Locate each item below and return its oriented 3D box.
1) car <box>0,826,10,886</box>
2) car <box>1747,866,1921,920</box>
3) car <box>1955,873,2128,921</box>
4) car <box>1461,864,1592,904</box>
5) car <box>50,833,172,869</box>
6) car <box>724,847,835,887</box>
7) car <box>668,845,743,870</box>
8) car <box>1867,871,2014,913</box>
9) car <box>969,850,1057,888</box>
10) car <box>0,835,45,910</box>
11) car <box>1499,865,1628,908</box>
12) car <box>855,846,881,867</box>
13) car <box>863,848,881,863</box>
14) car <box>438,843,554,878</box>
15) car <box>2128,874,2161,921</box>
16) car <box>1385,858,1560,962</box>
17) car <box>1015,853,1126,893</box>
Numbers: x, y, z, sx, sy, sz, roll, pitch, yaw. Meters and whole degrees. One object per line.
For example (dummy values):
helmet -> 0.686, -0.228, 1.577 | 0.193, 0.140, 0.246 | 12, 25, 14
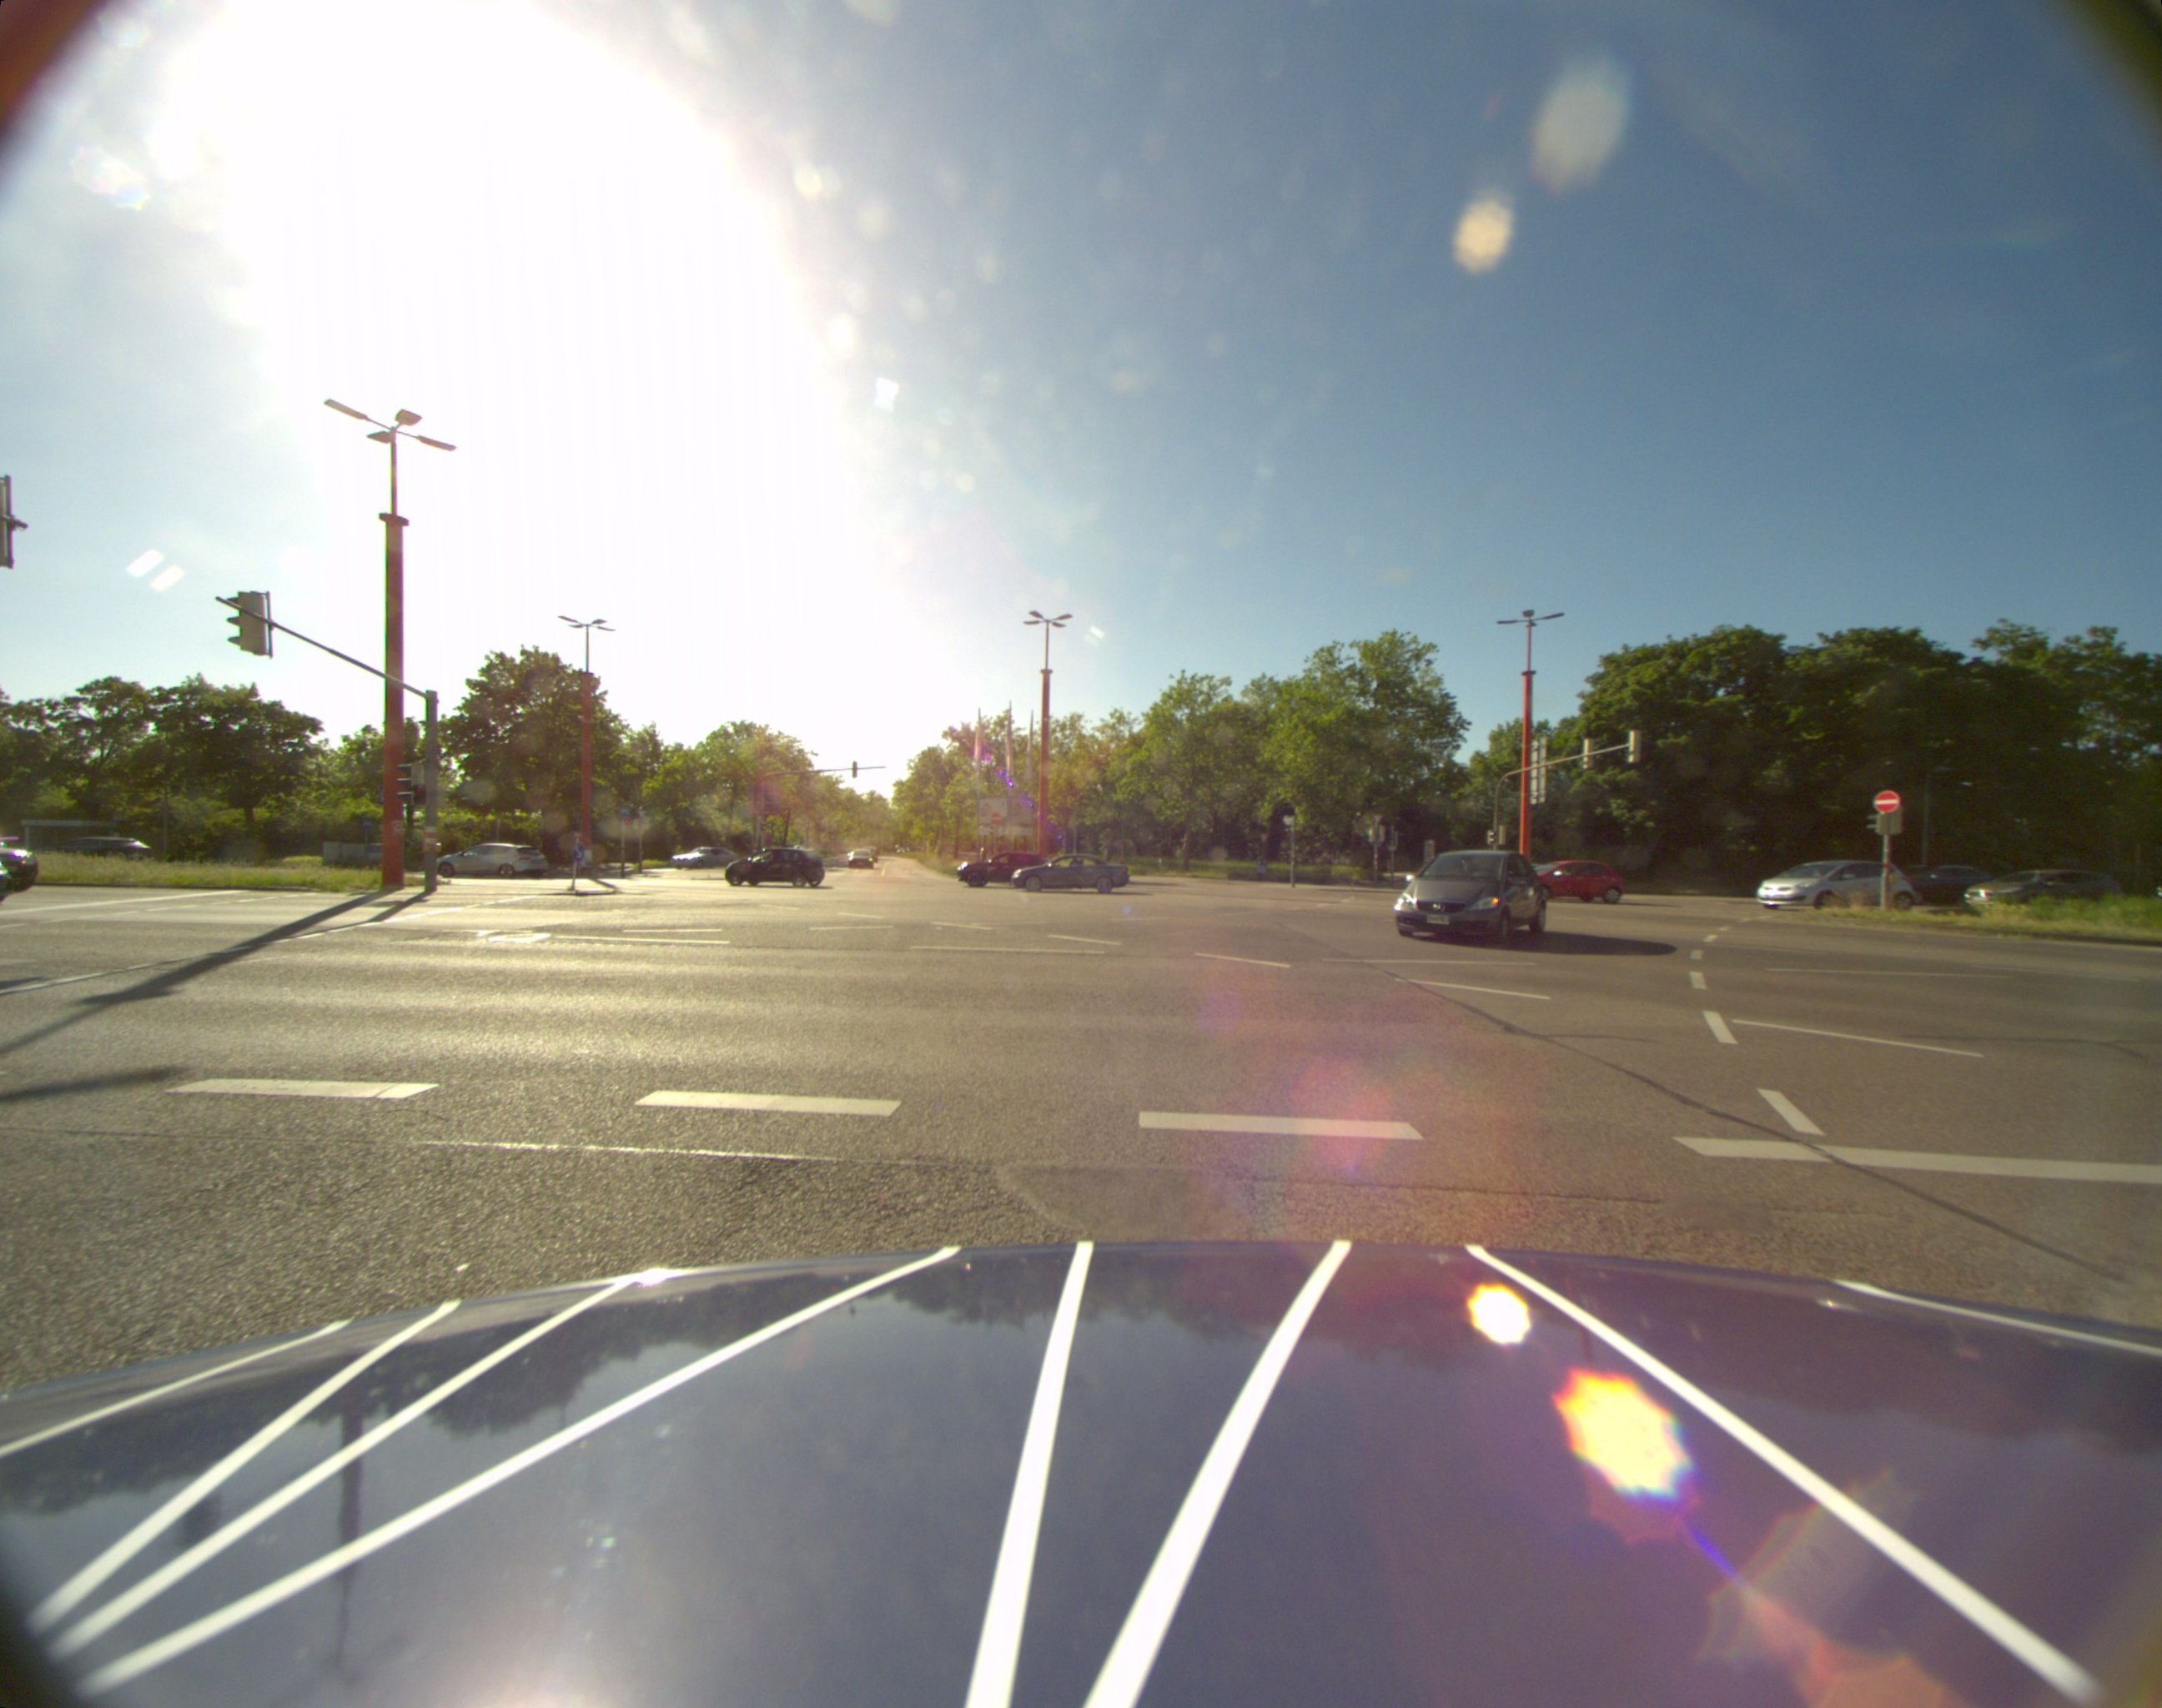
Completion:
car -> -28.897, 0.042, 18.301 | 3.995, 1.502, 1.800 | 1, 2, 5
car -> 23.728, 1.209, 24.017 | 3.903, 1.579, 1.704 | 1, 0, -3
car -> 33.731, 1.482, 26.776 | 3.781, 1.501, 1.614 | 1, 0, 5
car -> 18.189, 1.201, 31.160 | 4.243, 1.501, 1.800 | 1, 0, 3
car -> -43.857, -0.130, 34.409 | 3.535, 1.497, 1.614 | 1, 0, 1
car -> -11.413, 0.485, 28.870 | 3.534, 1.421, 1.614 | 1, 0, 2
car -> -24.552, 0.229, 49.898 | 1.796, 1.501, 4.644 | 1, 0, 15
car -> 33.808, 1.486, 29.958 | 3.782, 1.497, 1.614 | 1, 0, 3
car -> -2.862, 0.631, 32.395 | 3.535, 1.497, 1.614 | 1, 0, 1
car -> -23.243, 0.343, 14.792 | 3.995, 1.473, 1.800 | 1, 2, 5
car -> 17.601, 1.162, 27.834 | 3.668, 1.450, 1.590 | 1, 1, 3
car -> -16.194, 0.181, 57.985 | 1.801, 1.501, 3.994 | 1, 0, -14
car -> -22.724, 0.126, 82.653 | 1.801, 1.501, 3.994 | 1, 0, -14
car -> -25.436, 0.276, 33.109 | 3.862, 1.407, 1.614 | 1, 0, 3
car -> 36.851, 1.451, 24.097 | 4.622, 1.501, 1.790 | 1, 0, 3
car -> 7.343, 0.910, 14.093 | 1.794, 1.580, 3.771 | 2, 2, 45
car -> -0.345, 0.690, 28.393 | 3.996, 1.360, 1.801 | 1, 0, 4
